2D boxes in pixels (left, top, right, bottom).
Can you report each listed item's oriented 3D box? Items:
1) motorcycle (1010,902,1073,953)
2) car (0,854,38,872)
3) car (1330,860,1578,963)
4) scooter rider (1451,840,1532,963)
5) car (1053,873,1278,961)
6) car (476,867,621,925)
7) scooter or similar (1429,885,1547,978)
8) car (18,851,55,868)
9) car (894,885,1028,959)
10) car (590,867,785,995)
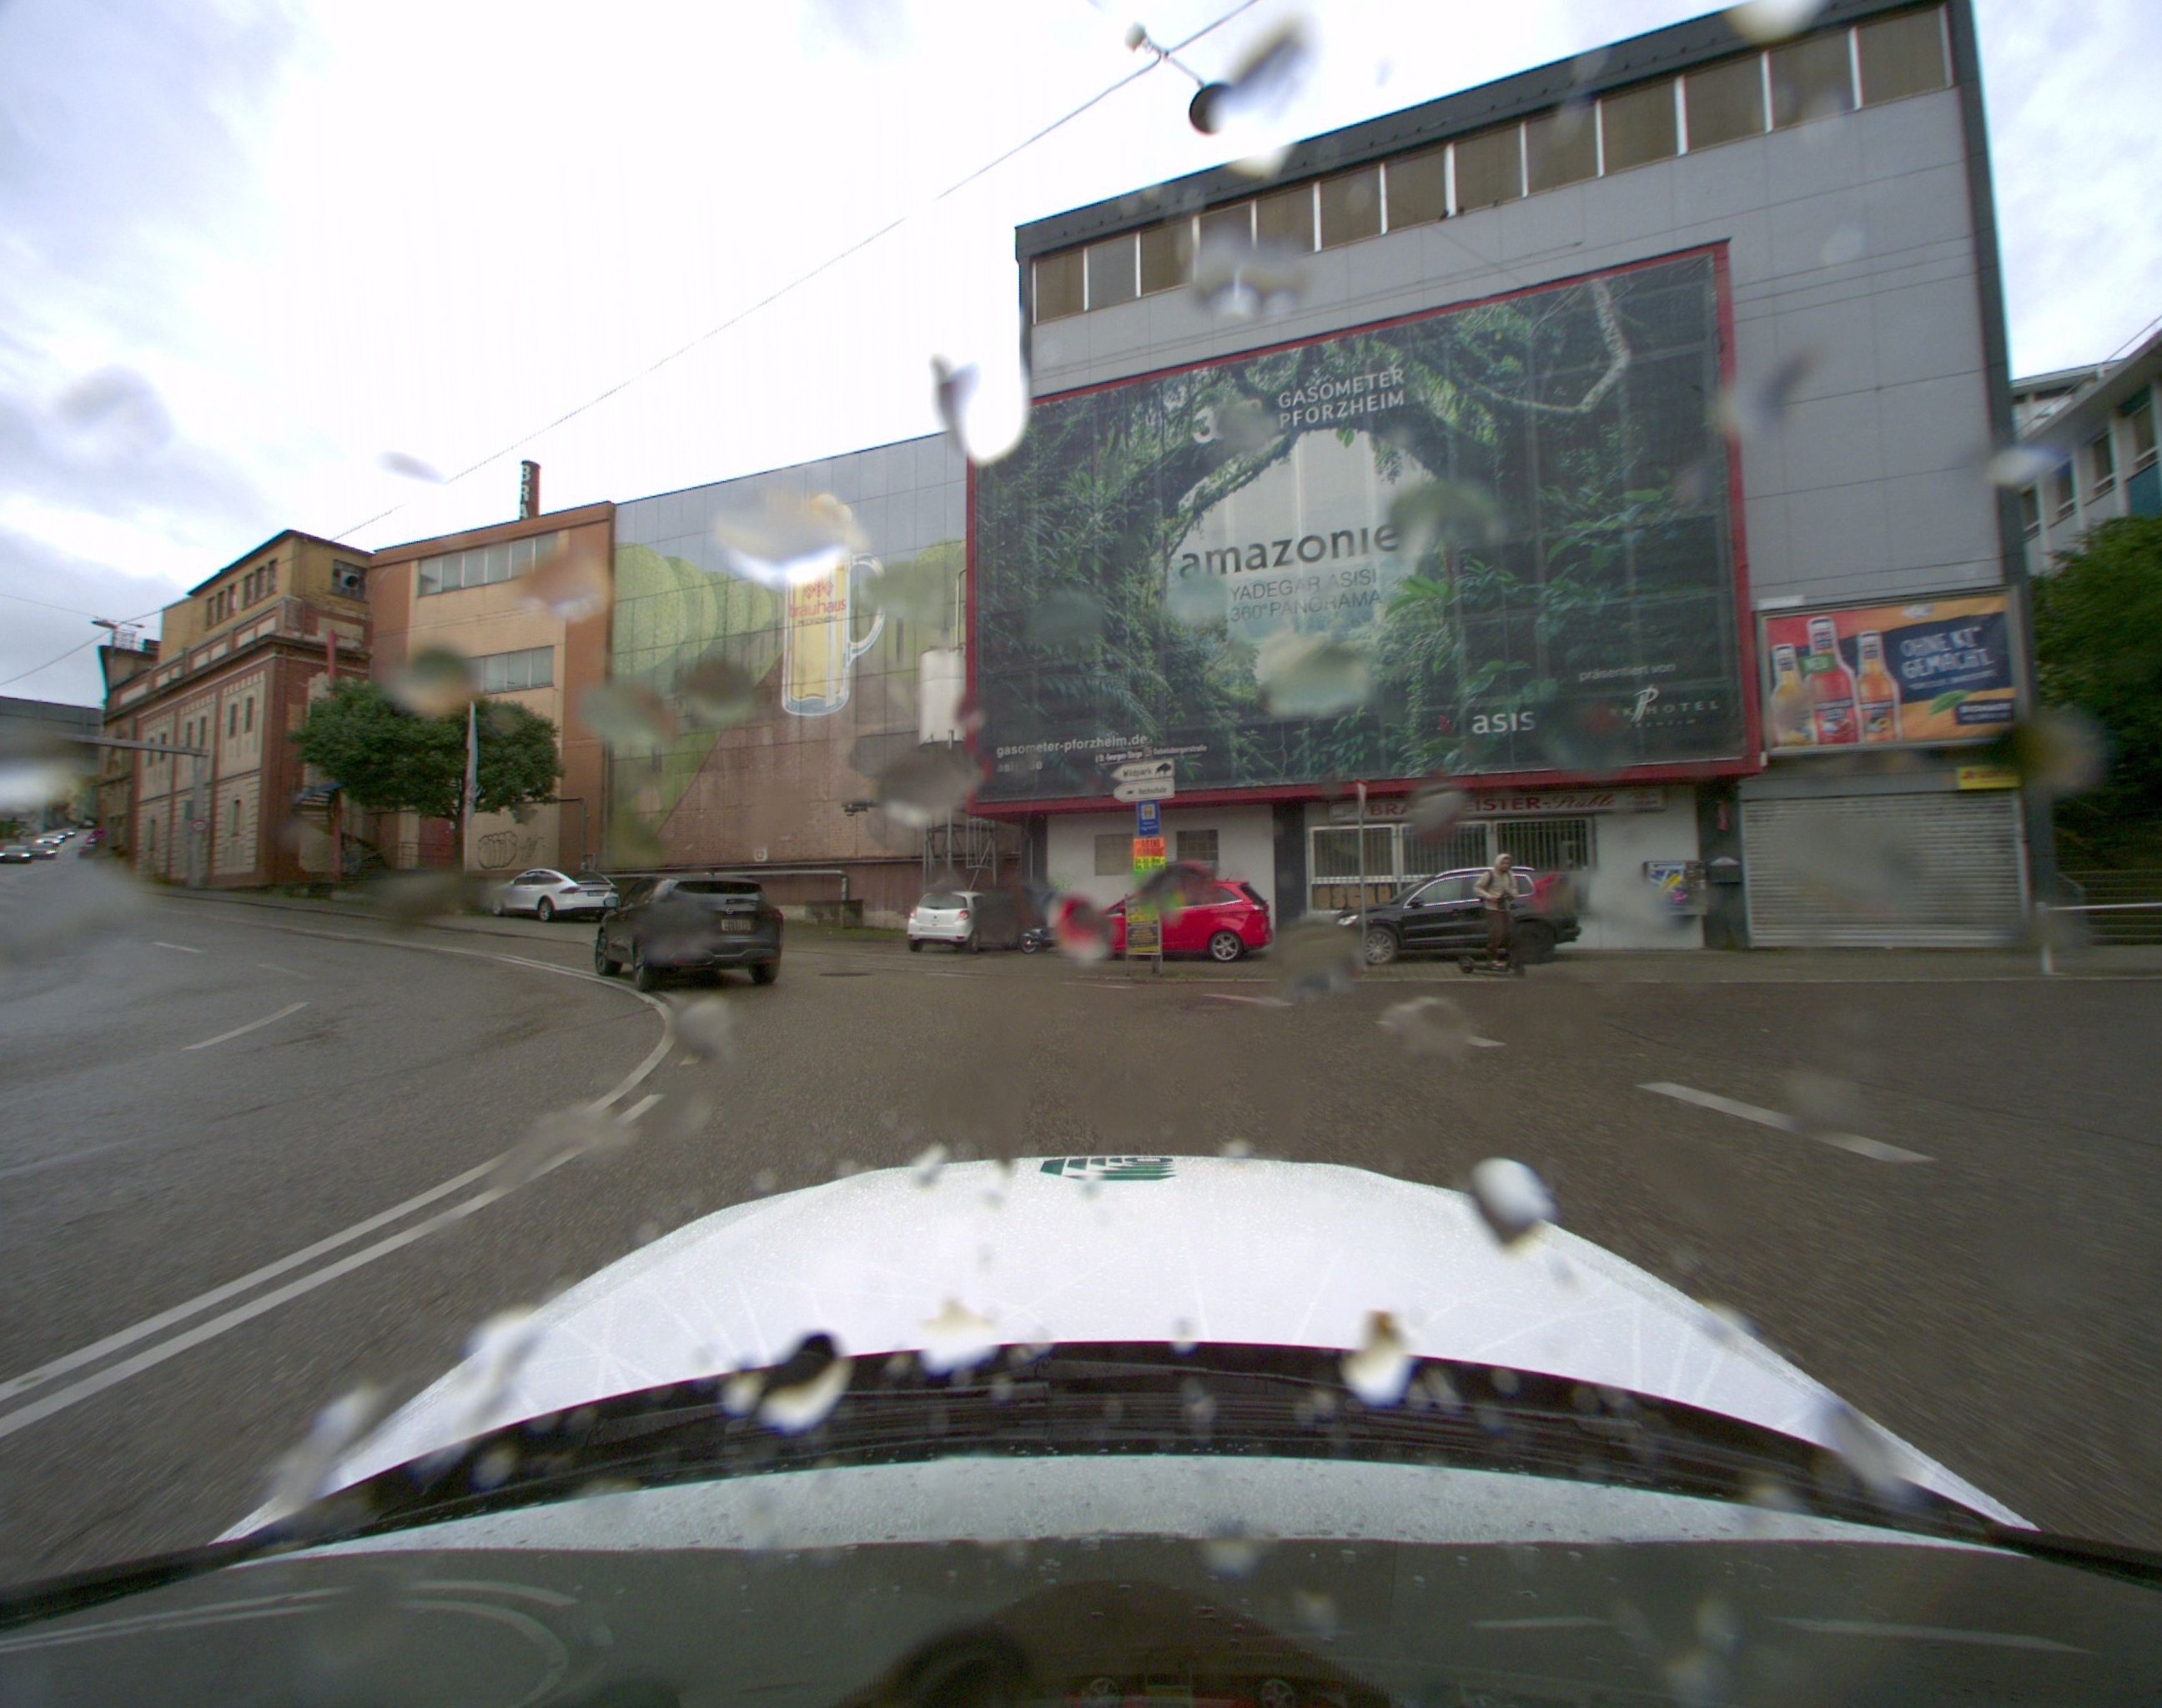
[{"bbox_3d":[-0.922,1.719,19.131,1.411,1.161,0.453,-1,-4,7],"label":"motorcycle"},{"bbox_3d":[-99.979,0.850,76.536,1.810,1.511,3.950,2,-4,-45],"label":"car"},{"bbox_3d":[6.873,1.082,15.428,3.954,1.712,1.942,-3,-2,19],"label":"car"},{"bbox_3d":[6.368,0.706,12.642,0.808,1.821,0.773,-1,-2,-36],"label":"scooter rider"},{"bbox_3d":[1.843,1.314,17.567,4.440,1.712,1.942,-2,-3,20],"label":"car"},{"bbox_3d":[-17.517,1.336,26.751,4.853,1.617,1.870,1,-2,29],"label":"car"},{"bbox_3d":[6.322,1.169,12.706,0.808,1.323,1.393,-1,-2,-36],"label":"scooter or similar"},{"bbox_3d":[-108.758,0.586,84.824,1.810,1.511,3.950,2,-4,-45],"label":"car"},{"bbox_3d":[-2.957,1.660,20.940,1.855,1.533,4.010,-1,0,16],"label":"car"},{"bbox_3d":[-6.031,1.064,12.257,1.896,1.594,3.876,2,-4,-37],"label":"car"}]
